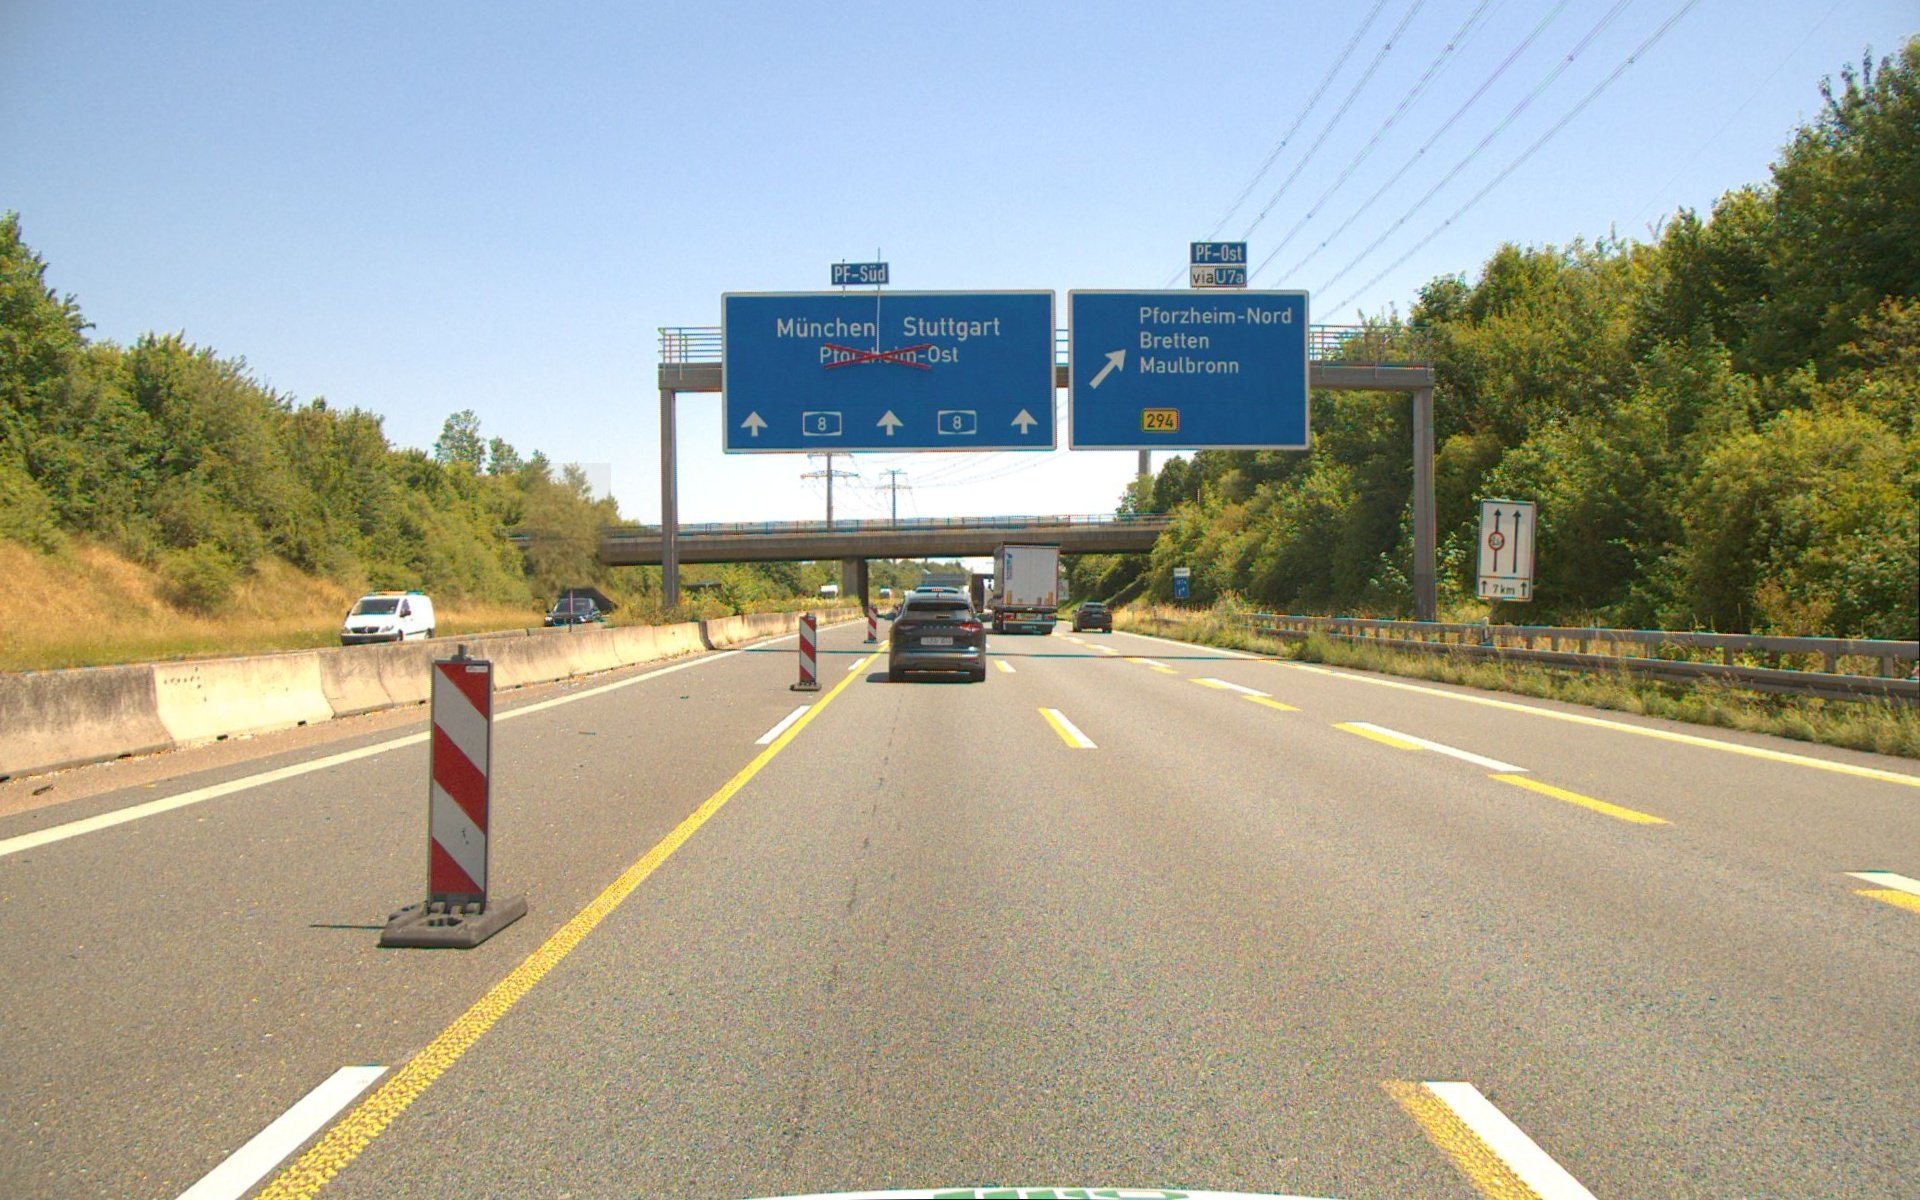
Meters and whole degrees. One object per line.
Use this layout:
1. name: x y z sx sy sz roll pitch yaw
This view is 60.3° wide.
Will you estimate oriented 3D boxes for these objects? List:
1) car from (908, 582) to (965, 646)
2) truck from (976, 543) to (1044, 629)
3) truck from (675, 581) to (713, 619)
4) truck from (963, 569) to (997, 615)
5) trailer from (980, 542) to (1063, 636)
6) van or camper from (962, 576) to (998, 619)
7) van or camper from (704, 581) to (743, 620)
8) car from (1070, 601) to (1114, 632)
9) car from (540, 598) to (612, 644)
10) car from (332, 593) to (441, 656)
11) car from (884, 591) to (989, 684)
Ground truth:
1. car: -0.855 0.454 57.765 1.857 1.873 4.442 3 3 -2
2. truck: 2.478 -0.681 84.937 2.964 4.159 7.792 1 0 -2
3. truck: -23.948 0.038 149.288 2.445 3.316 6.363 -1 0 -1
4. truck: 1.833 -0.722 158.952 3.015 4.219 13.053 1 0 0
5. trailer: 2.751 -0.483 78.170 3.004 4.113 11.482 0 0 -2
6. van or camper: 1.466 -0.202 122.286 2.533 3.020 6.084 2 0 0
7. van or camper: -20.512 0.054 143.621 2.386 3.202 7.625 -1 0 -1
8. car: 6.609 0.808 83.176 1.743 1.515 4.463 1 0 -1
9. car: -15.246 0.807 65.887 1.834 1.724 4.497 -1 0 -1
10. car: -19.810 0.801 57.397 1.891 2.049 5.595 -1 0 -1
11. car: -0.495 0.654 31.713 1.857 1.620 4.441 -1 0 -2
